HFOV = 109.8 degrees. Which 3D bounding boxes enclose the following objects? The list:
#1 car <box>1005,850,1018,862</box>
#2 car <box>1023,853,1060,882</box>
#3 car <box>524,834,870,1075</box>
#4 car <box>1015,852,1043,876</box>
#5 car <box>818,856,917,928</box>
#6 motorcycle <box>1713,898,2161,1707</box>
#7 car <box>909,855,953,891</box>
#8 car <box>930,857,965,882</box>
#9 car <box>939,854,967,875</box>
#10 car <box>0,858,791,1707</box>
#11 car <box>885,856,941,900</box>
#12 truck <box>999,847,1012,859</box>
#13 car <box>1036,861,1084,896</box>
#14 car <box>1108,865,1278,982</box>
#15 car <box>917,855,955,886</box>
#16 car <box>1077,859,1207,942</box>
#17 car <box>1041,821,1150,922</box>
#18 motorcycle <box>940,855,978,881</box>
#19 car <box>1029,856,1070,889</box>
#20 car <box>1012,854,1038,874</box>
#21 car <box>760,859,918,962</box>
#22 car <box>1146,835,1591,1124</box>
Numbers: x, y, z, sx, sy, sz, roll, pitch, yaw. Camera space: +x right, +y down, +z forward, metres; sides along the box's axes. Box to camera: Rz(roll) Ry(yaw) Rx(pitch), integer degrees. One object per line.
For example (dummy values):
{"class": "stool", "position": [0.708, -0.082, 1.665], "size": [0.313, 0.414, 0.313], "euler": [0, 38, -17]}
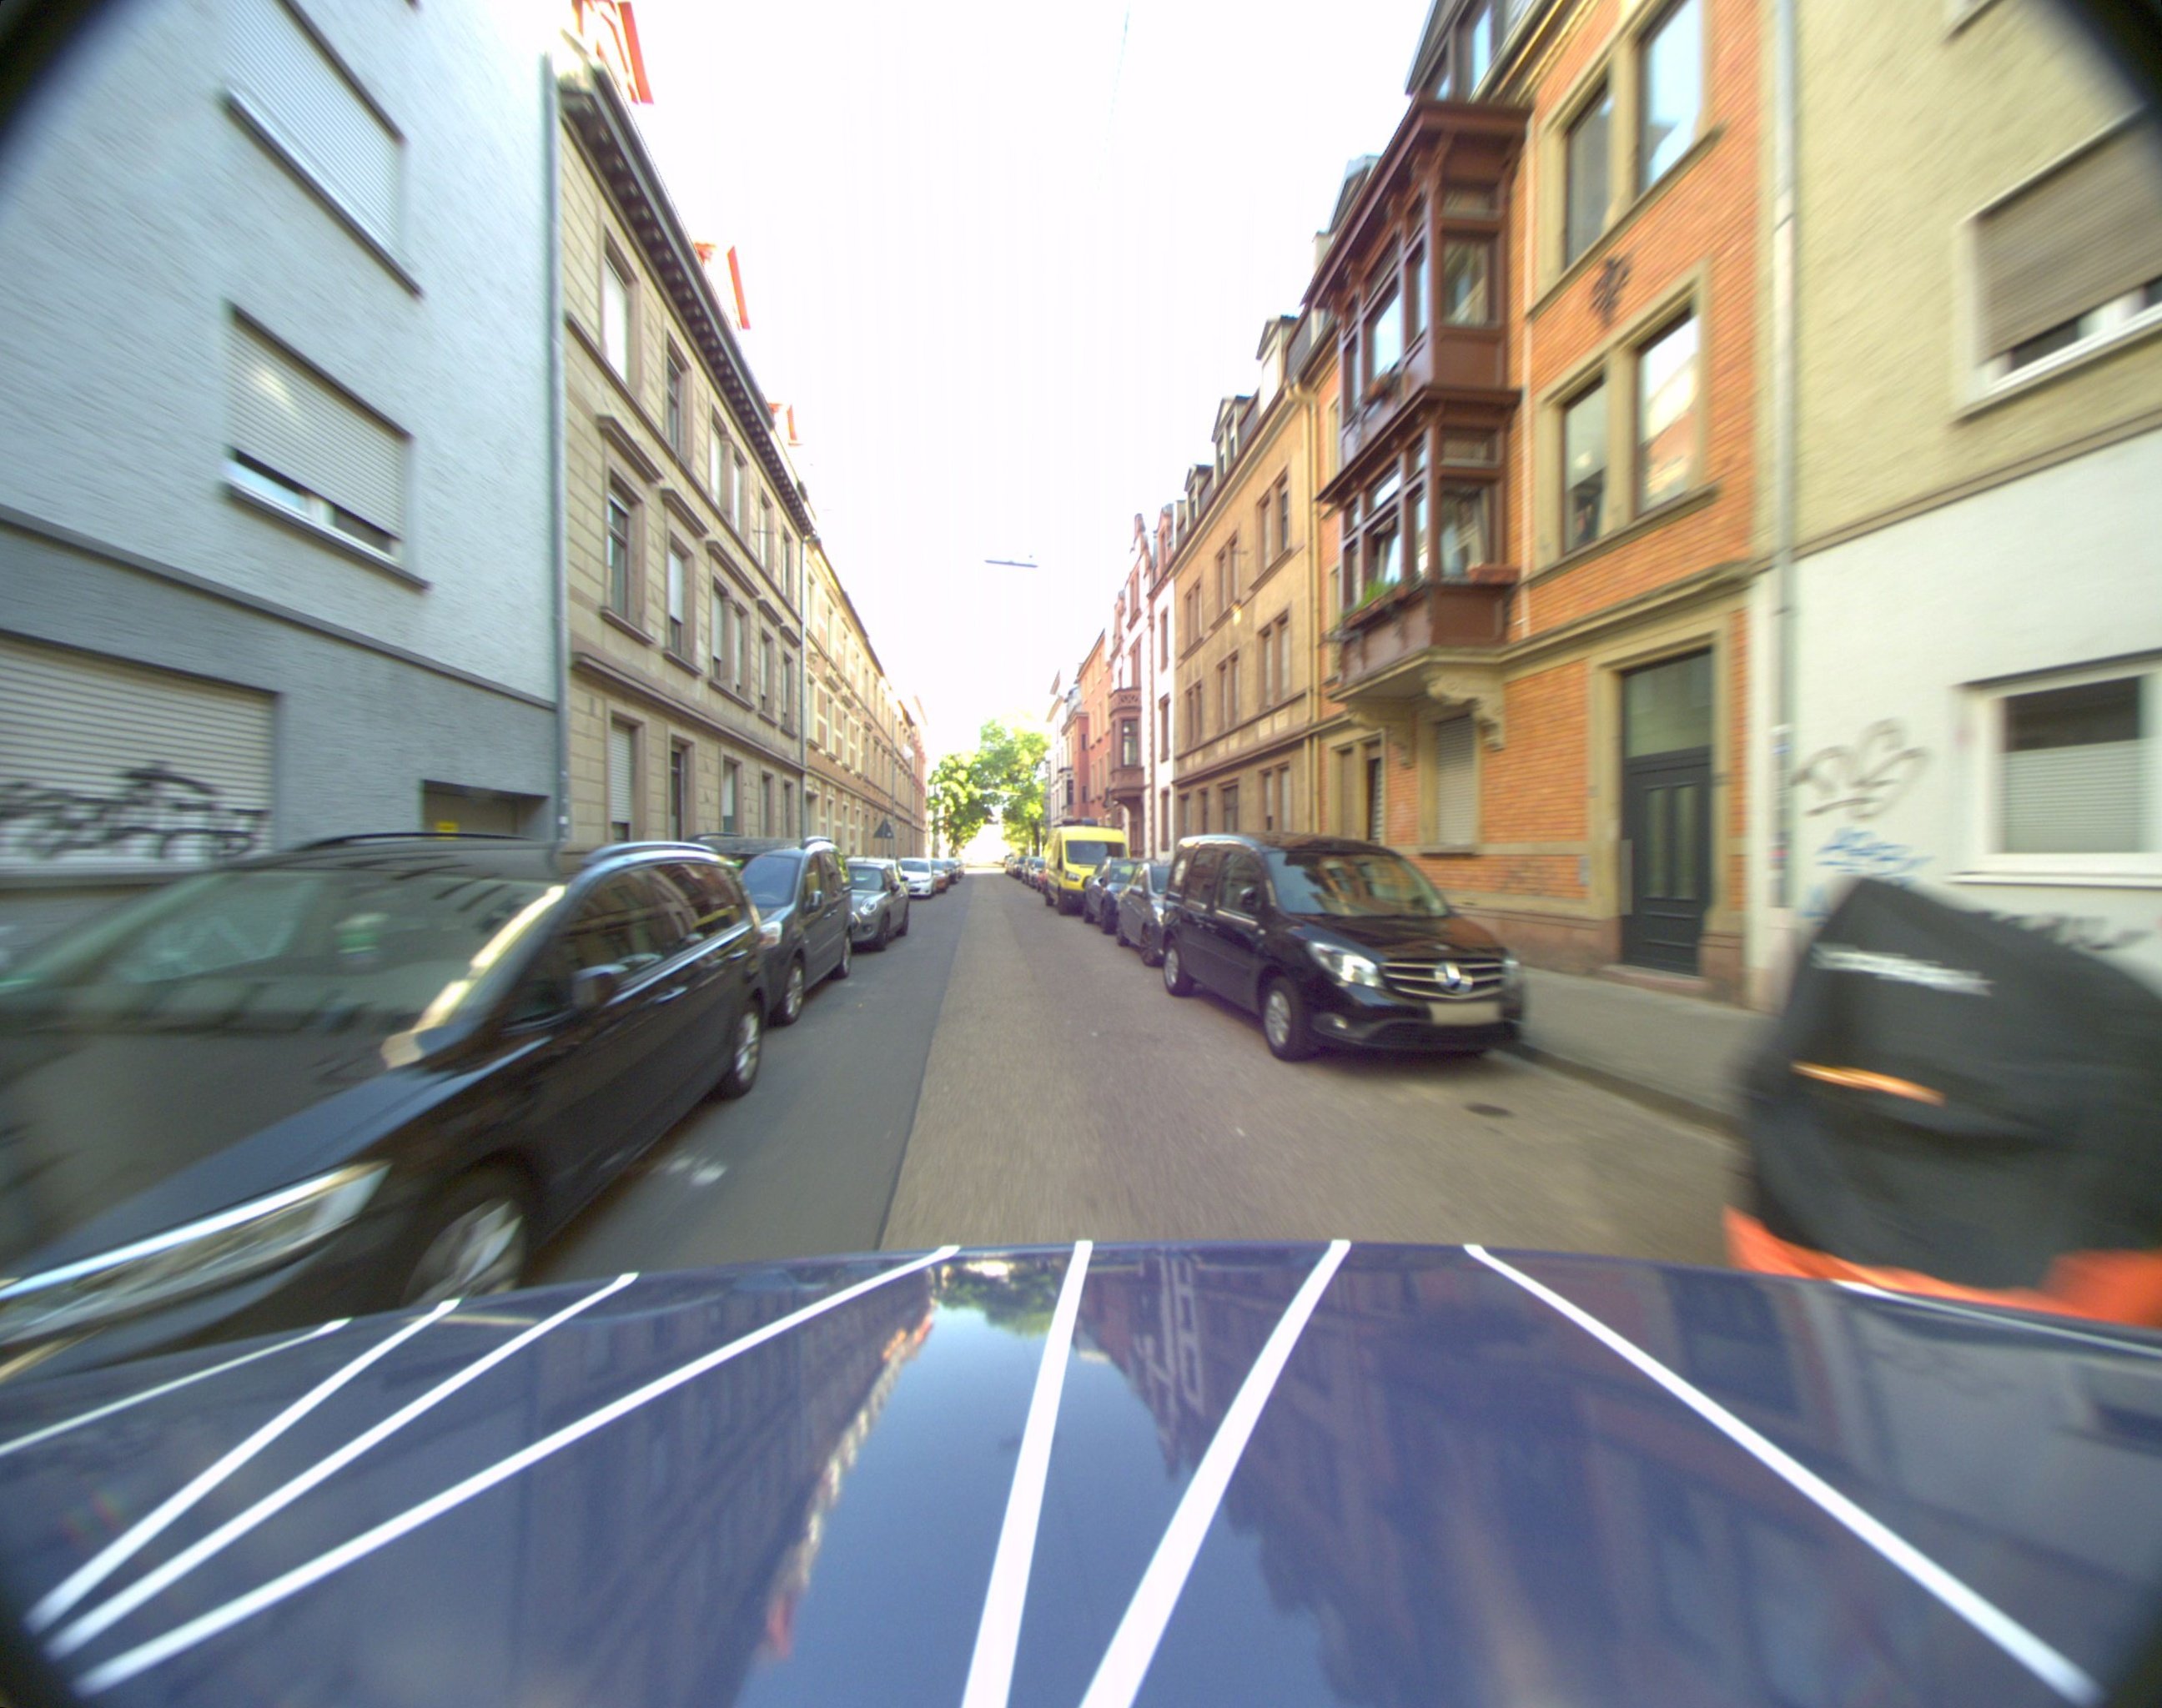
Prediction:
{"class": "car", "position": [-11.639, 0.351, 126.684], "size": [2.000, 1.946, 5.039], "euler": [2, 0, -7]}
{"class": "car", "position": [-2.357, 0.748, 44.280], "size": [1.787, 1.596, 4.066], "euler": [0, 0, -9]}
{"class": "car", "position": [-3.535, 0.787, 8.102], "size": [1.759, 1.775, 4.720], "euler": [3, 0, -7]}
{"class": "car", "position": [-3.688, 0.673, 53.679], "size": [1.766, 1.608, 4.186], "euler": [0, 0, -7]}
{"class": "car", "position": [-5.262, 0.858, 19.294], "size": [1.760, 1.509, 4.440], "euler": [4, -1, -8]}
{"class": "motorcycle", "position": [2.858, 0.937, 2.202], "size": [2.525, 1.473, 0.901], "euler": [-1, 1, -34]}
{"class": "car", "position": [-6.822, 0.833, 34.823], "size": [1.760, 1.437, 4.065], "euler": [3, 0, -9]}
{"class": "car", "position": [-7.827, 0.878, 44.960], "size": [1.783, 1.388, 4.314], "euler": [0, 0, -7]}
{"class": "car", "position": [-9.444, 0.770, 56.265], "size": [1.767, 1.475, 4.398], "euler": [0, 0, -7]}
{"class": "car", "position": [-2.752, 0.868, 3.178], "size": [1.907, 1.630, 4.387], "euler": [0, 1, -8]}
{"class": "car", "position": [-6.535, 0.879, 29.850], "size": [1.726, 1.472, 4.079], "euler": [4, 0, -8]}
{"class": "truck", "position": [-16.506, -0.218, 164.961], "size": [2.397, 2.641, 7.087], "euler": [0, 0, -9]}
{"class": "car", "position": [-0.964, 1.016, 33.073], "size": [1.623, 1.319, 3.609], "euler": [3, 0, -8]}
{"class": "car", "position": [1.552, 0.932, 11.793], "size": [1.682, 1.441, 3.642], "euler": [-1, 0, -7]}
{"class": "car", "position": [-7.492, 0.832, 39.517], "size": [1.731, 1.409, 4.090], "euler": [4, -1, -9]}
{"class": "car", "position": [1.162, 0.897, 16.514], "size": [2.000, 1.543, 3.997], "euler": [0, 0, -8]}
{"class": "car", "position": [0.227, 0.447, 22.111], "size": [2.182, 2.493, 5.873], "euler": [2, 0, -8]}
{"class": "motorcycle", "position": [-7.806, 0.898, 48.646], "size": [2.230, 1.528, 0.888], "euler": [-3, 1, -33]}
{"class": "car", "position": [-1.637, 0.897, 38.240], "size": [1.699, 1.465, 3.916], "euler": [3, 0, -7]}
{"class": "car", "position": [-4.367, 0.757, 58.818], "size": [1.648, 1.447, 3.836], "euler": [2, 0, -8]}
{"class": "car", "position": [-4.127, 0.885, 13.683], "size": [1.759, 1.444, 4.285], "euler": [4, -1, -6]}
{"class": "car", "position": [2.030, 0.750, 6.904], "size": [1.825, 1.756, 4.331], "euler": [0, 0, -10]}
